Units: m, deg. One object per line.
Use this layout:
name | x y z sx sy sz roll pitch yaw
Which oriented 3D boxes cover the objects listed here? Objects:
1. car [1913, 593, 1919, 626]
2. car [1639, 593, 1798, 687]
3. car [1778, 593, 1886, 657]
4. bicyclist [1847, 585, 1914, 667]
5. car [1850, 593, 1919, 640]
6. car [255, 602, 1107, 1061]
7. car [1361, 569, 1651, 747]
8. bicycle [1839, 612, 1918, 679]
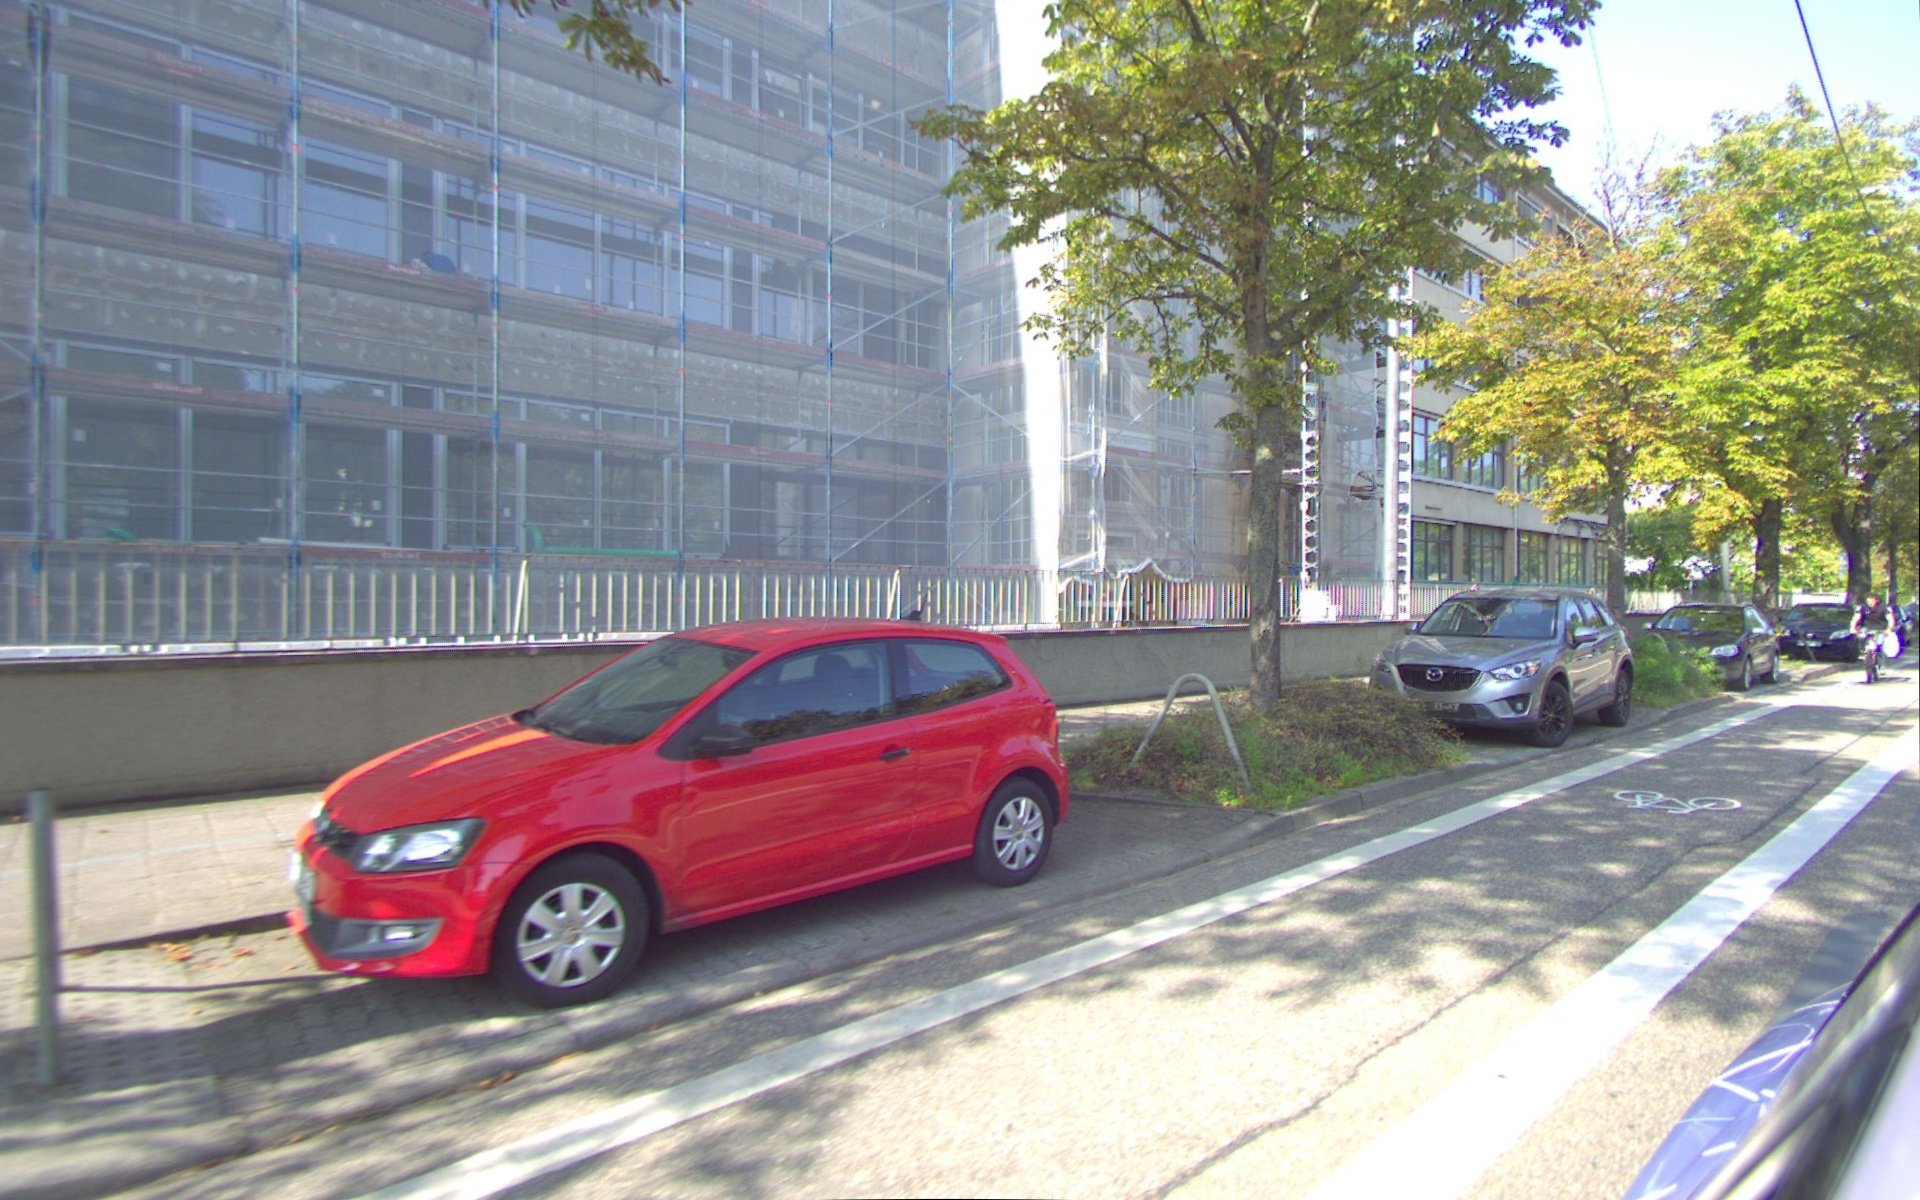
car | 45.760 0.441 47.216 3.922 1.447 1.642 -1 2 -43
car | 14.016 0.661 18.635 3.673 1.503 1.579 0 2 -41
car | 23.261 0.616 26.969 3.712 1.529 1.649 0 2 -41
bicyclist | 17.414 0.465 19.146 1.096 1.488 0.788 0 0 -40
car | 32.192 0.529 35.005 4.015 1.446 1.648 0 2 -43
car | -1.151 0.758 5.207 3.930 1.431 1.619 0 1 -41
car | 6.557 0.569 11.926 4.322 1.713 1.755 0 -1 -43
bicycle | 17.291 0.823 19.035 2.264 1.159 0.788 0 0 -40
